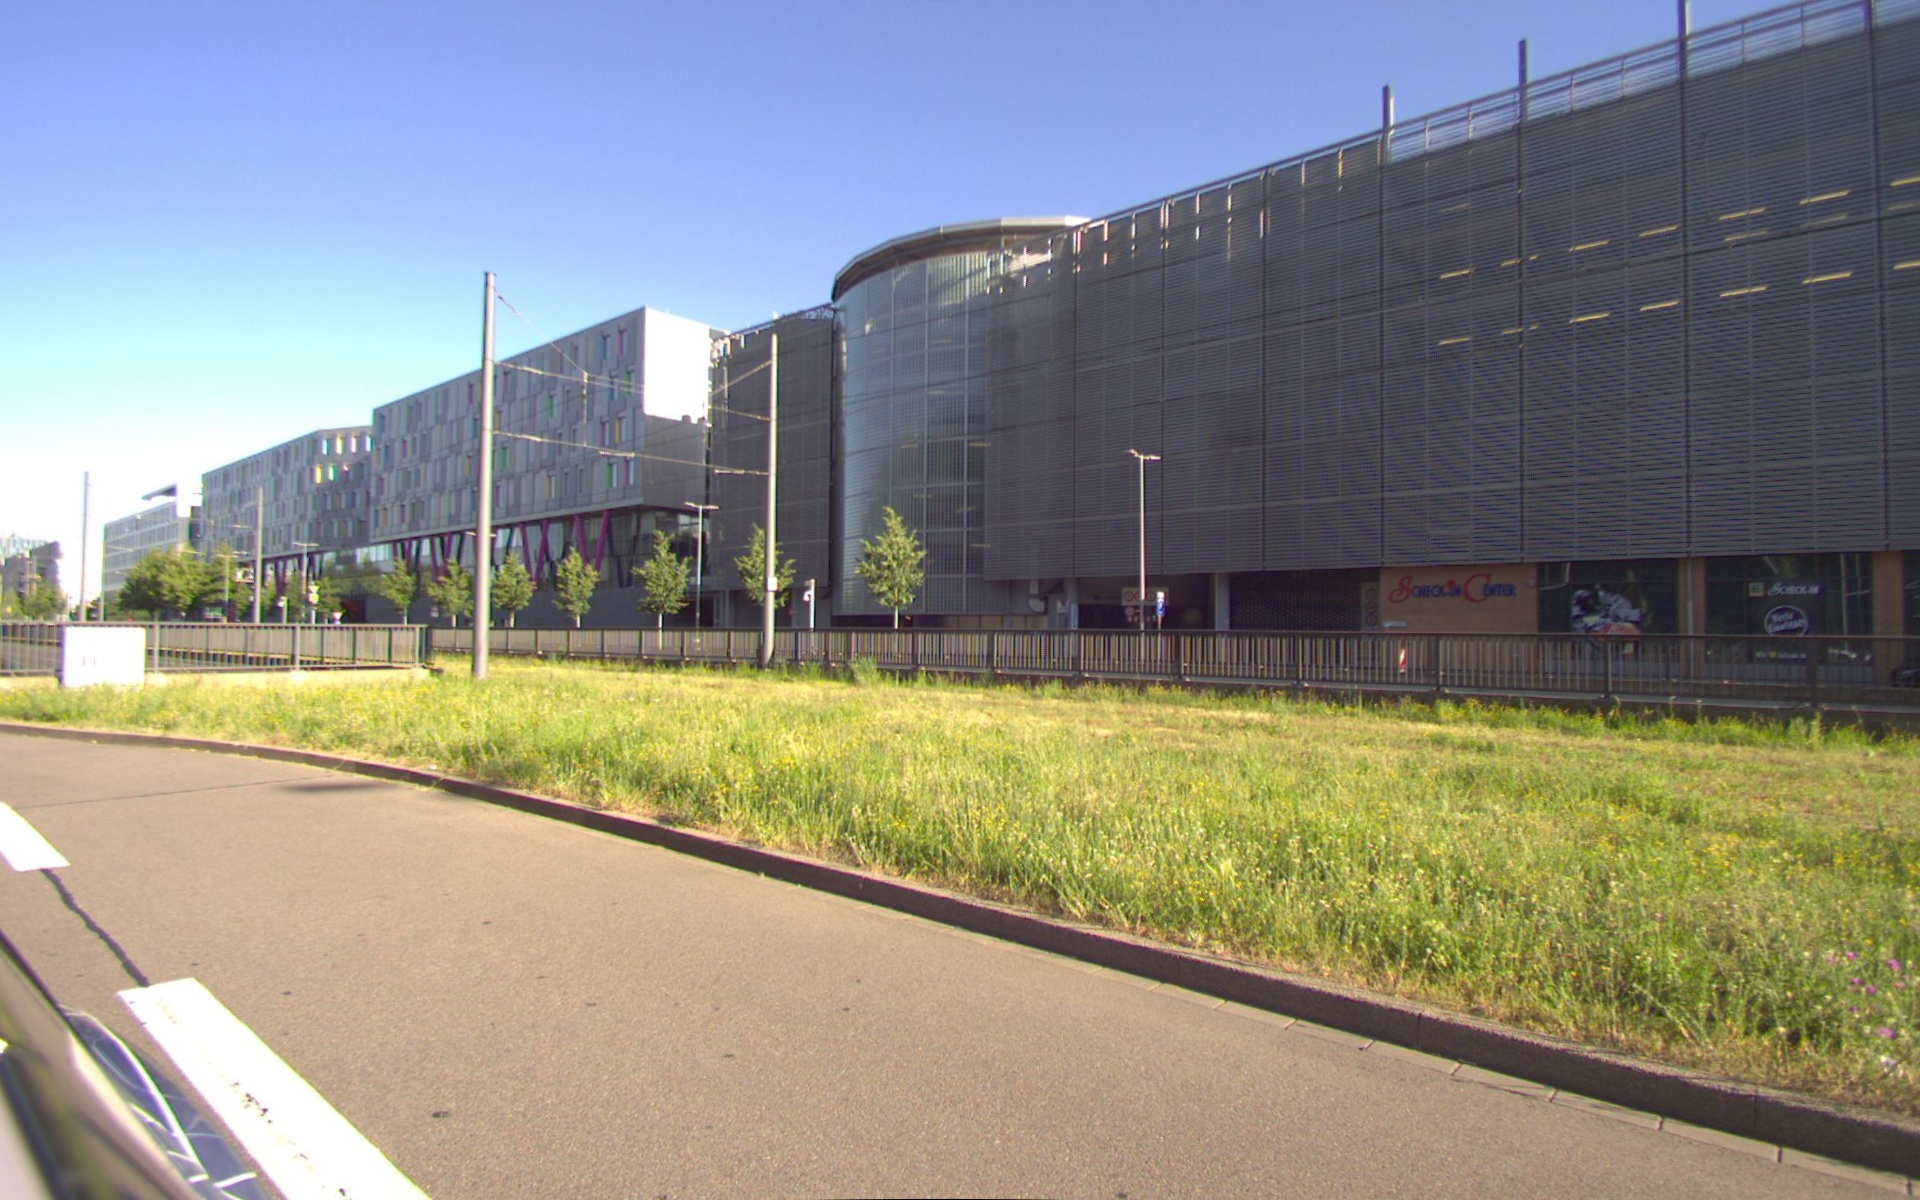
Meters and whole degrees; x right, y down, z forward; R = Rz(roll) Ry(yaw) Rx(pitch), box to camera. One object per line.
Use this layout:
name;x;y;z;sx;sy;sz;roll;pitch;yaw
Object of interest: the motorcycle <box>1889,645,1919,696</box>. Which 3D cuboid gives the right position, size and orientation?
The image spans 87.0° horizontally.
motorcycle;29.597;2.062;29.217;3.998;1.464;1.973;-2;-3;41
